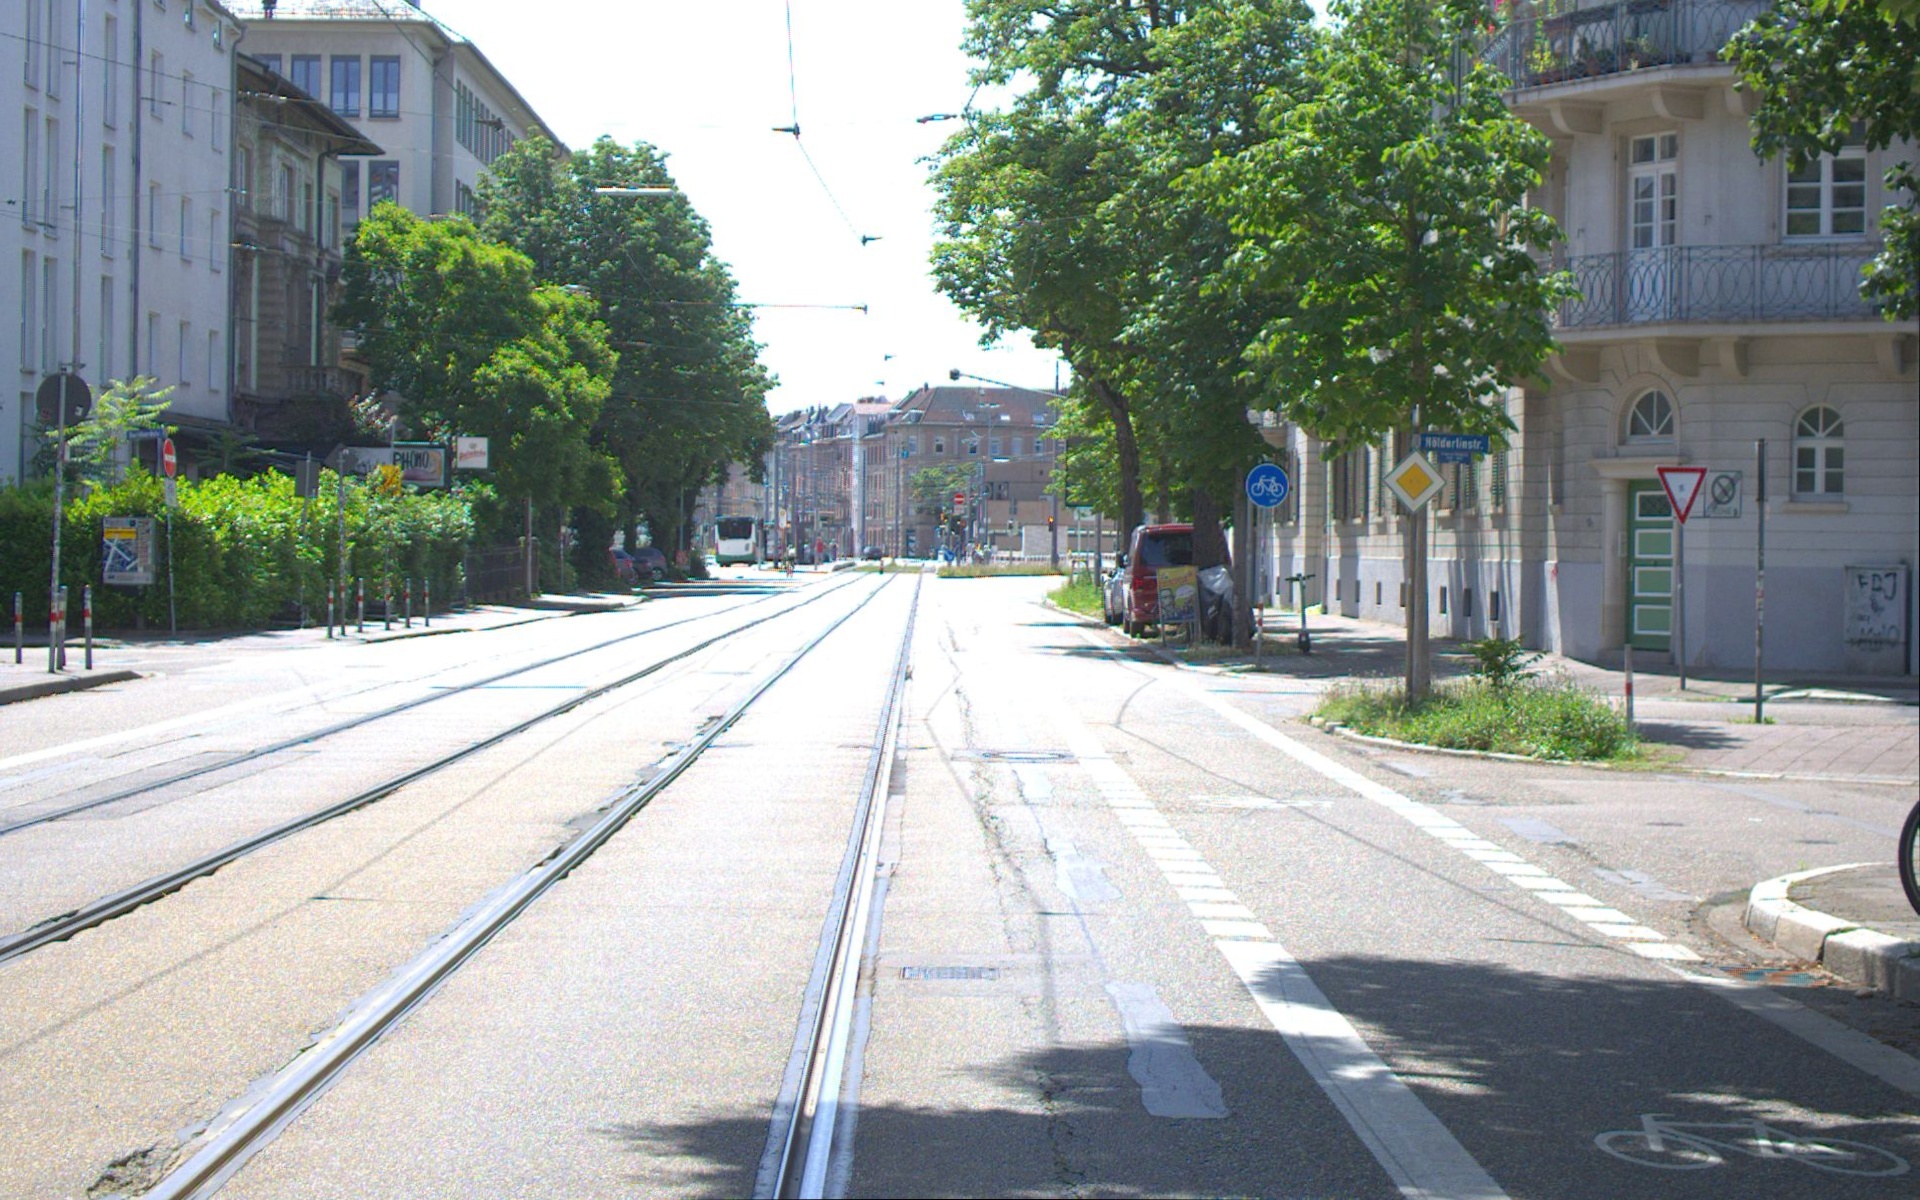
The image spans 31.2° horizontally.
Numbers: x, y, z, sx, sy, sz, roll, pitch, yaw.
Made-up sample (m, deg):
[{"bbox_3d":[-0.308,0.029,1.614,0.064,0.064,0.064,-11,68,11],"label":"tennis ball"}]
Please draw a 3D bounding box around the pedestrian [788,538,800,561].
[{"bbox_3d":[-8.411,-2.541,173.935,0.491,1.169,0.590,1,1,-12],"label":"pedestrian"}]

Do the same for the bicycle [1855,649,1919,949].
[{"bbox_3d":[4.362,0.744,13.015,1.816,1.109,0.493,0,0,-1],"label":"bicycle"}]

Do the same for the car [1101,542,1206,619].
[{"bbox_3d":[3.893,-0.402,69.606,1.784,1.468,3.772,2,1,-1],"label":"car"}]

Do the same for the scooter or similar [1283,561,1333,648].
[{"bbox_3d":[5.028,0.060,49.763,0.501,1.225,1.573,2,1,-1],"label":"scooter or similar"}]

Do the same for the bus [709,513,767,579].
[{"bbox_3d":[-14.152,-3.402,220.205,2.931,3.923,11.275,3,0,-1],"label":"bus"}]

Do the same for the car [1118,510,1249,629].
[{"bbox_3d":[3.989,-0.584,62.110,1.993,2.028,4.697,1,1,-1],"label":"car"}]
